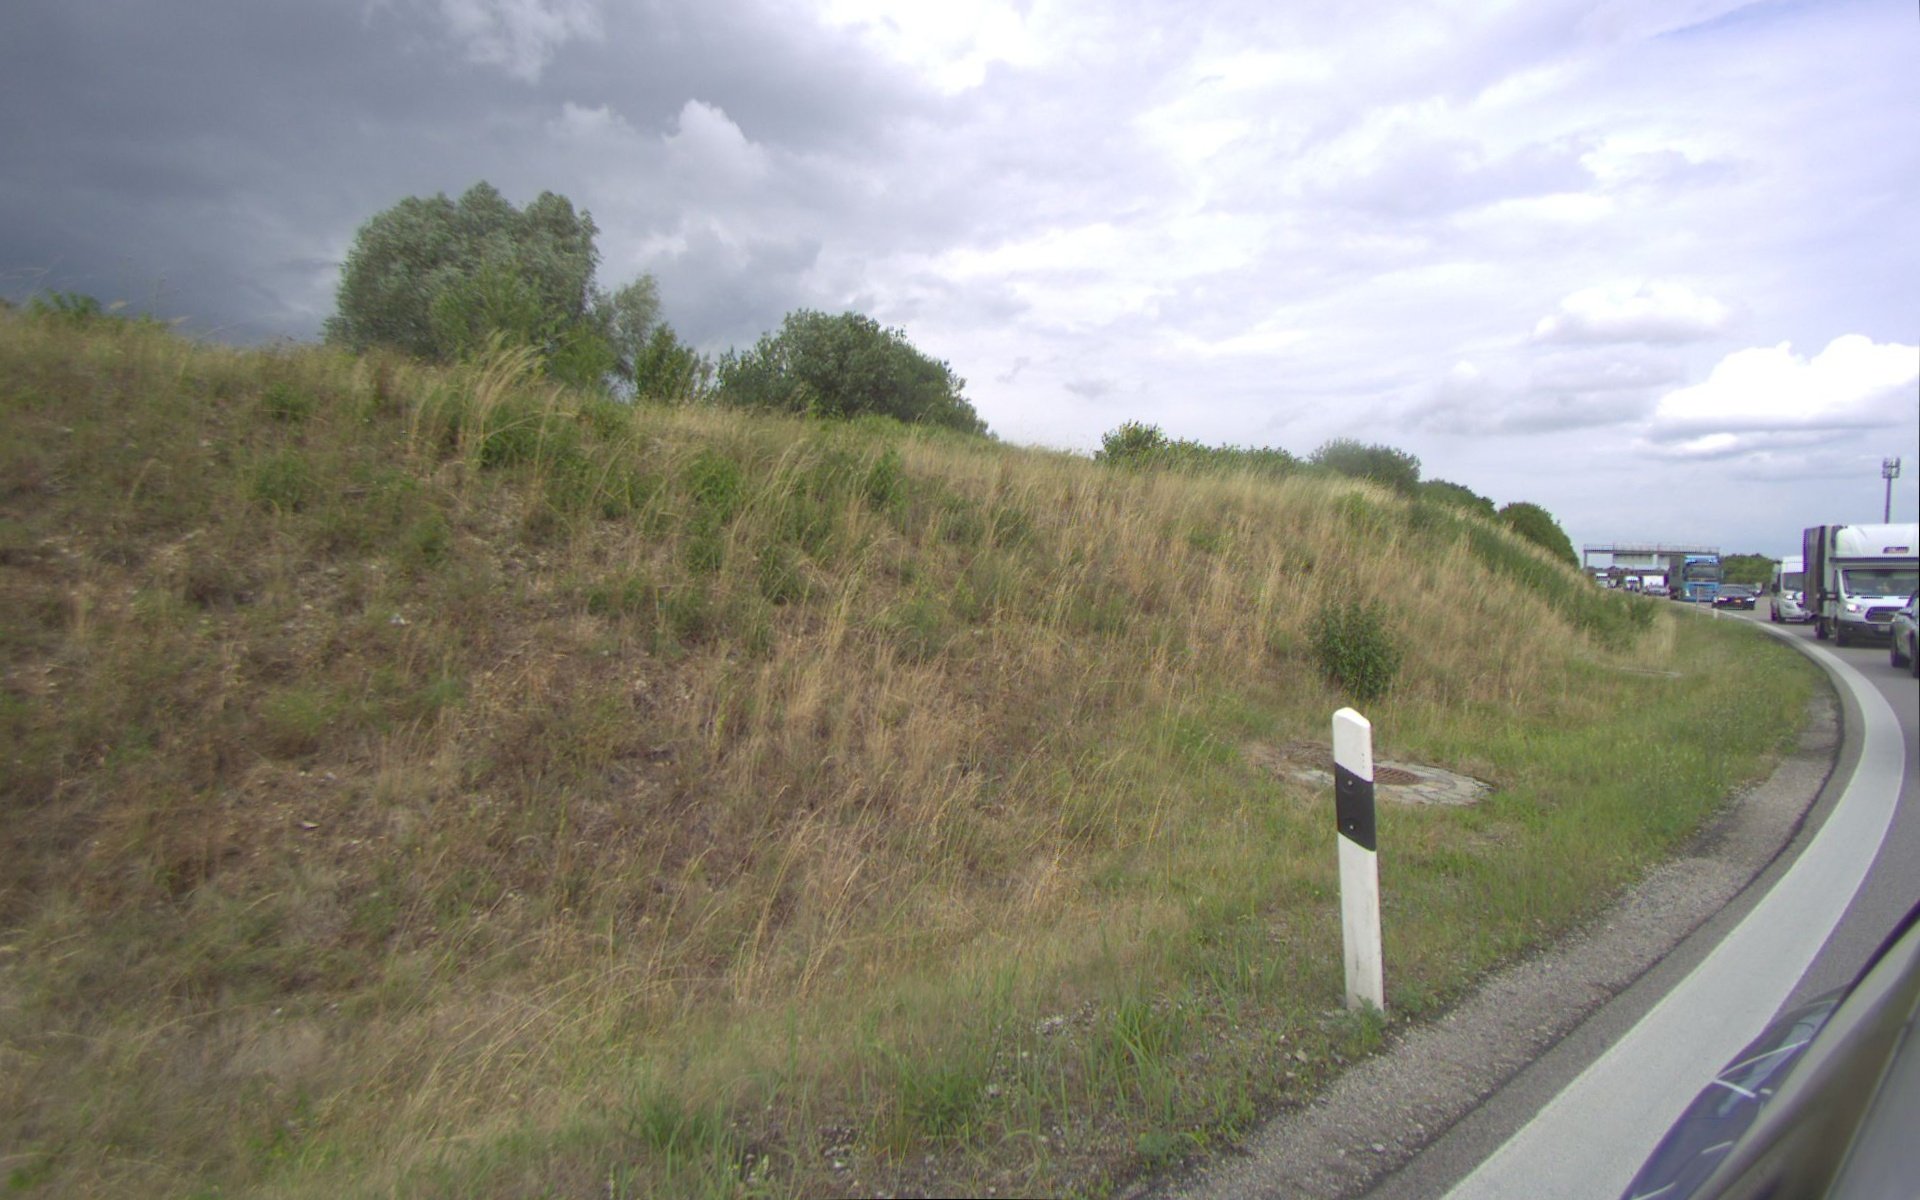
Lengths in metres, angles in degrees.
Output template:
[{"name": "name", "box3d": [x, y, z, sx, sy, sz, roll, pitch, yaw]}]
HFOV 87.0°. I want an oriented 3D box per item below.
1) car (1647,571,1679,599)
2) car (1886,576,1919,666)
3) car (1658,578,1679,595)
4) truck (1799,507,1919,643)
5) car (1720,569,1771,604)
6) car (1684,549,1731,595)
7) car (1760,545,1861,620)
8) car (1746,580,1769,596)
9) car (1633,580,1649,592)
[{"name": "car", "box3d": [90.668, -1.951, 130.583, 2.925, 3.509, 6.498, 1, 2, 31]}, {"name": "car", "box3d": [18.145, 0.377, 17.877, 1.986, 1.595, 3.953, 1, 2, 33]}, {"name": "car", "box3d": [87.084, -1.665, 124.398, 1.917, 2.057, 3.954, 1, 2, 32]}, {"name": "truck", "box3d": [24.909, -0.664, 27.355, 2.432, 3.275, 7.110, 1, 2, 32]}, {"name": "car", "box3d": [47.571, -0.853, 61.343, 1.985, 2.038, 3.955, 1, 2, 32]}, {"name": "car", "box3d": [64.566, -2.421, 87.547, 2.486, 3.757, 7.616, 1, 2, 31]}, {"name": "car", "box3d": [34.255, -0.720, 40.947, 2.006, 2.779, 6.853, 1, 2, 31]}, {"name": "car", "box3d": [102.057, -1.578, 129.524, 1.986, 2.038, 3.952, 1, 2, 33]}, {"name": "car", "box3d": [116.195, -2.364, 172.711, 1.984, 2.039, 3.956, -1, 1, 32]}]
